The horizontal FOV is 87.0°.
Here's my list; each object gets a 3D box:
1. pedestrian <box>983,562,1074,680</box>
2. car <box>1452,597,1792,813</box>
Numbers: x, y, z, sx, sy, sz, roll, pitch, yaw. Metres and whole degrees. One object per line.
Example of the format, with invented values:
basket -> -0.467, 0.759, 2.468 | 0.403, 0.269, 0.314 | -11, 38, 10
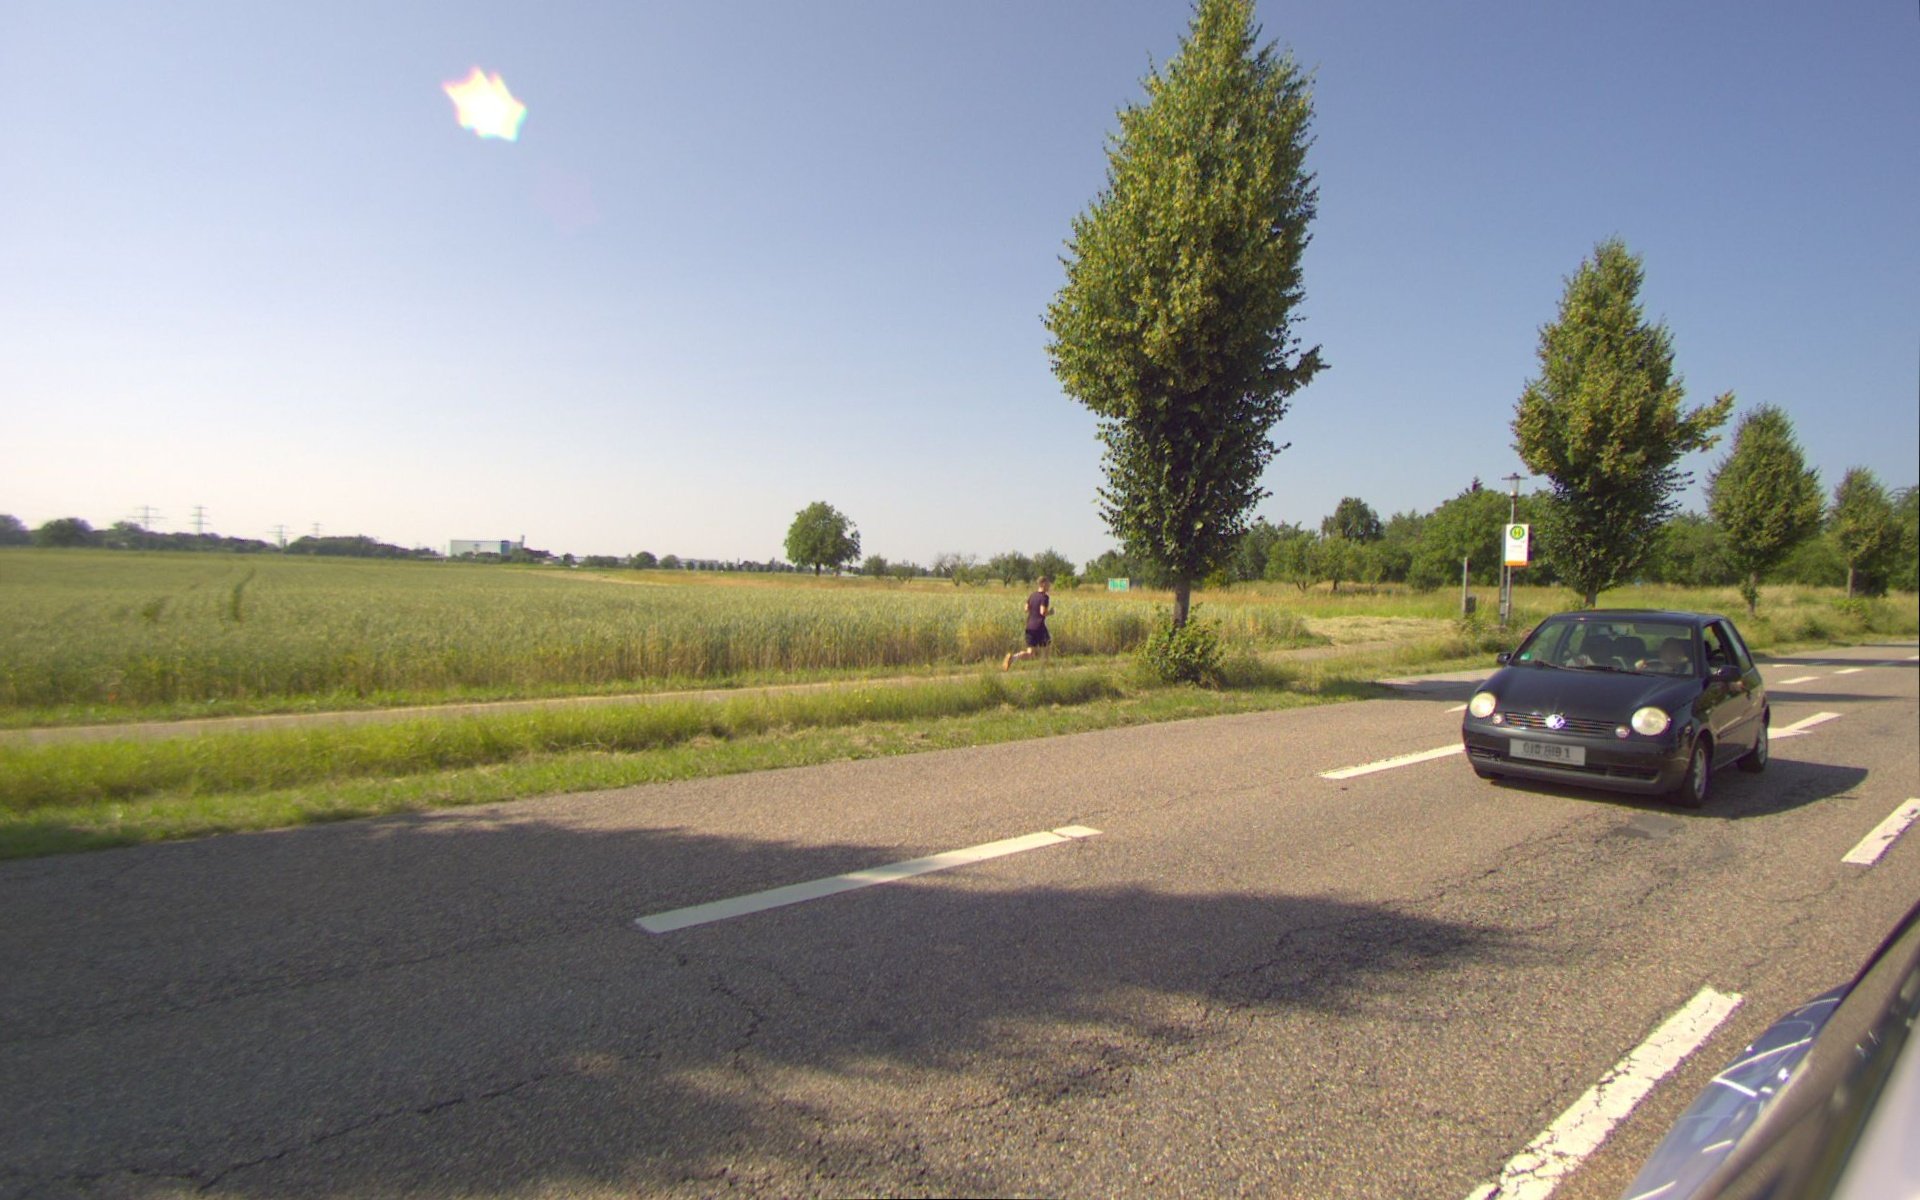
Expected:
pedestrian -> 1.132, 0.320, 16.674 | 1.174, 1.862, 0.903 | 1, 1, -43
car -> 5.761, 0.714, 8.652 | 3.561, 1.451, 1.627 | 0, 0, -43
